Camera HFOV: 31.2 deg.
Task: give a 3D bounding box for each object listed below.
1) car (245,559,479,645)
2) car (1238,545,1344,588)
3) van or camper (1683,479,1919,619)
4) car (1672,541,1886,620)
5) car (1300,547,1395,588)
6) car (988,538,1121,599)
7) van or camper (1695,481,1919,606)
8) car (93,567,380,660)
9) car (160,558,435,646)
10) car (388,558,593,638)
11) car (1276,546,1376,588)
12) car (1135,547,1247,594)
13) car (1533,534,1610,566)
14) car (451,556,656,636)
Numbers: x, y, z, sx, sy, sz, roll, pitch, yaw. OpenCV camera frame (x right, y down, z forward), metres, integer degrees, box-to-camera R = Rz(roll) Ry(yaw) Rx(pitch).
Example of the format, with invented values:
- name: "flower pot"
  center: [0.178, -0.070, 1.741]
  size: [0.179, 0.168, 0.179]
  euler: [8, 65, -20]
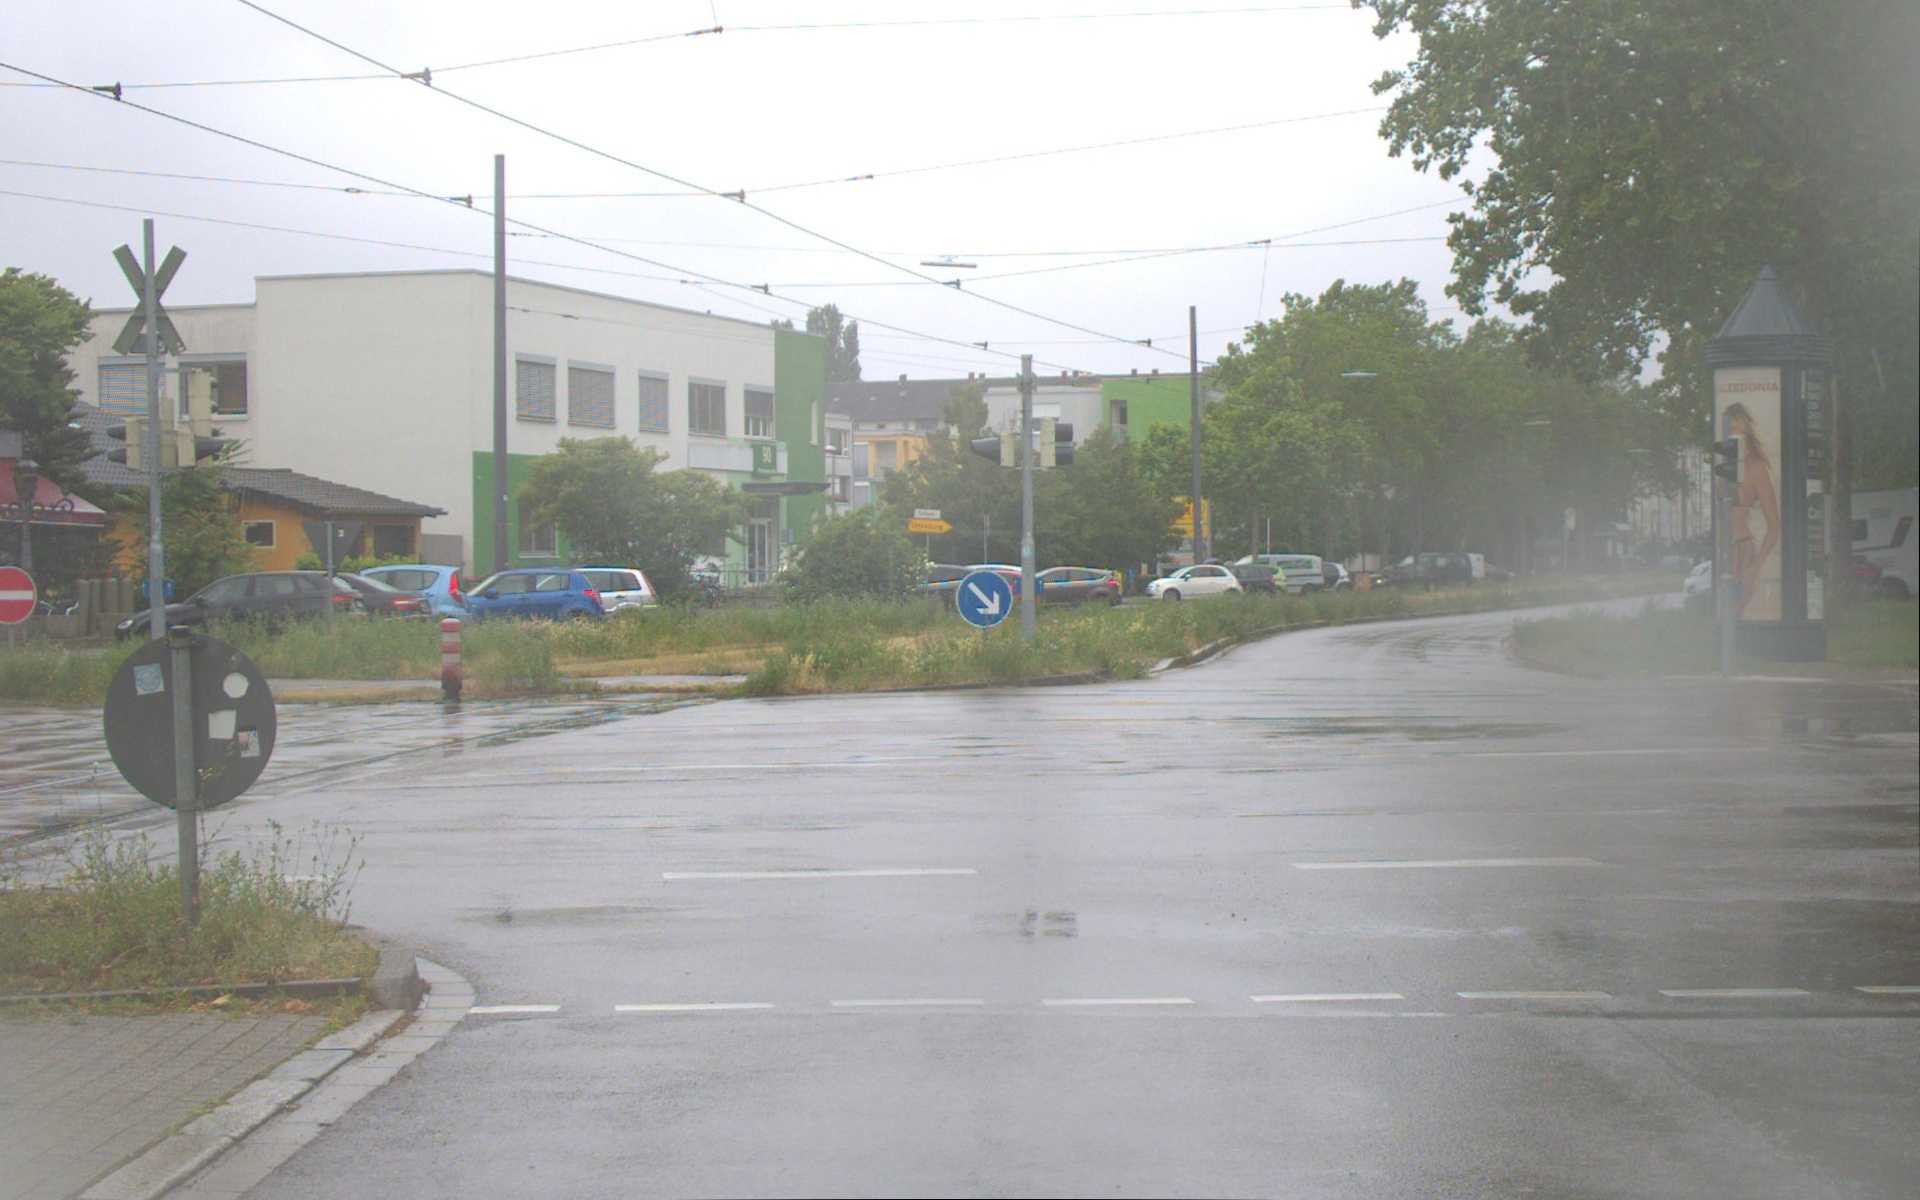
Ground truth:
- name: "car"
  center: [-11.245, 0.023, 64.791]
  size: [3.987, 1.576, 1.858]
  euler: [0, 0, 4]
- name: "car"
  center: [13.943, -1.396, 144.889]
  size: [3.986, 1.752, 2.011]
  euler: [1, 0, -11]
- name: "van or camper"
  center: [20.859, -1.185, 80.564]
  size: [7.328, 3.167, 3.259]
  euler: [1, 1, 18]
- name: "car"
  center: [18.484, -0.449, 77.598]
  size: [4.449, 1.711, 1.998]
  euler: [1, 1, 21]
- name: "car"
  center: [17.901, -1.518, 158.923]
  size: [3.986, 1.826, 2.000]
  euler: [1, 0, -5]
- name: "car"
  center: [3.025, -1.022, 110.276]
  size: [3.986, 1.881, 2.000]
  euler: [1, 0, -7]
- name: "van or camper"
  center: [23.224, -1.461, 89.682]
  size: [7.434, 3.167, 3.259]
  euler: [1, 1, 22]
- name: "car"
  center: [-12.381, 0.225, 58.995]
  size: [4.477, 1.413, 1.858]
  euler: [-2, 0, 1]
- name: "car"
  center: [-11.770, 0.026, 61.249]
  size: [4.497, 1.413, 1.858]
  euler: [-2, 0, 1]
- name: "car"
  center: [-9.535, -0.049, 69.701]
  size: [3.986, 1.576, 1.930]
  euler: [0, 0, -11]
- name: "car"
  center: [16.380, -1.488, 153.853]
  size: [3.986, 1.826, 2.001]
  euler: [1, 0, -11]
- name: "car"
  center: [8.515, -1.089, 126.774]
  size: [3.773, 1.697, 1.837]
  euler: [1, 0, -10]
- name: "car"
  center: [35.322, -2.880, 198.691]
  size: [3.986, 1.826, 2.000]
  euler: [1, 0, -5]
- name: "car"
  center: [-8.639, -0.097, 72.919]
  size: [4.107, 1.635, 1.930]
  euler: [-1, 0, -14]
